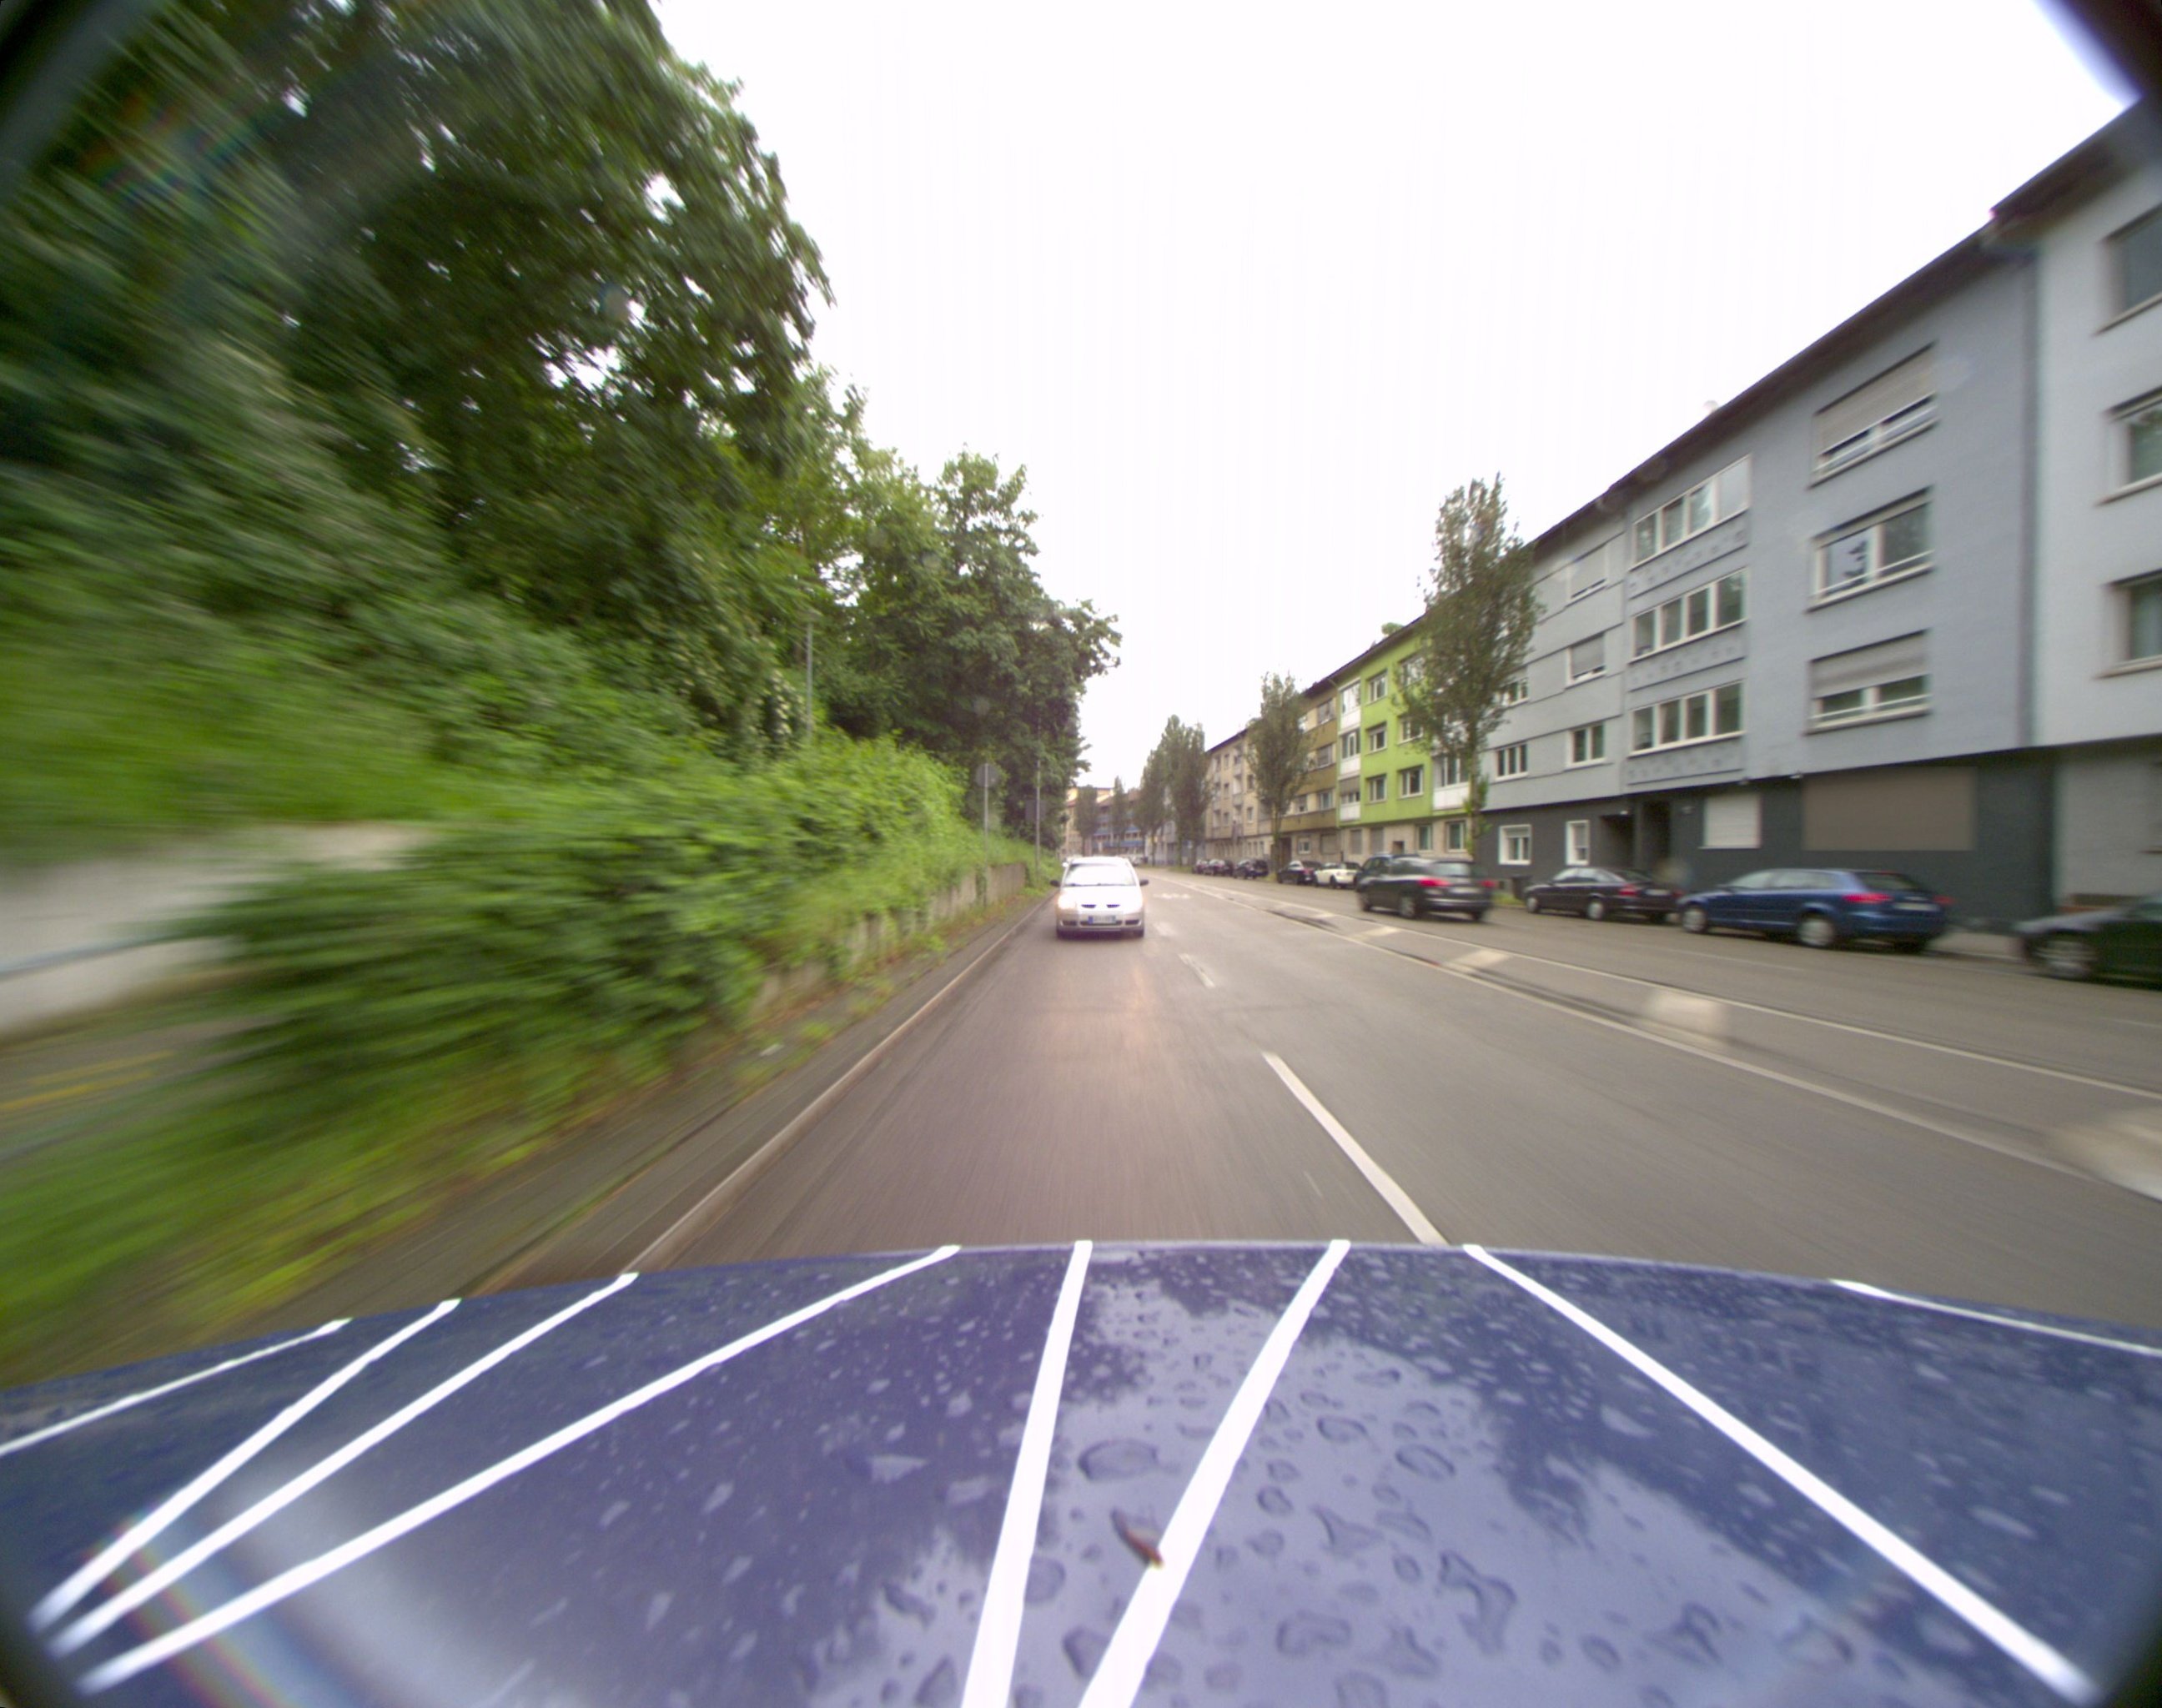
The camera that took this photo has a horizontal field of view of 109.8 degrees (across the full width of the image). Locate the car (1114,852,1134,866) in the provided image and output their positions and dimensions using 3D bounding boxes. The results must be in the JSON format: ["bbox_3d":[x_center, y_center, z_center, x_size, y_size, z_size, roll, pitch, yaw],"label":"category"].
[{"bbox_3d":[5.175,0.601,91.471,1.868,1.558,4.171,1,0,-5],"label":"car"}]

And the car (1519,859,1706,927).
[{"bbox_3d":[13.598,0.918,19.808,1.726,1.472,4.314,2,0,-1],"label":"car"}]

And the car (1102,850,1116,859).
[{"bbox_3d":[5.152,0.136,139.684,1.869,1.558,3.954,1,0,-7],"label":"car"}]

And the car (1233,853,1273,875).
[{"bbox_3d":[12.540,0.731,55.657,1.868,1.504,3.999,1,0,-2],"label":"car"}]

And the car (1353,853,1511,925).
[{"bbox_3d":[8.333,0.762,18.517,1.816,1.507,4.290,2,0,0],"label":"car"}]

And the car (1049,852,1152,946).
[{"bbox_3d":[0.511,0.794,15.628,1.754,1.586,4.170,-3,0,5],"label":"car"}]

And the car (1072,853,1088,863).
[{"bbox_3d":[-0.177,0.538,109.191,1.999,1.455,3.998,1,0,-5],"label":"car"}]

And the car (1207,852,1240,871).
[{"bbox_3d":[12.040,0.623,64.595,1.868,1.558,4.172,1,0,-2],"label":"car"}]

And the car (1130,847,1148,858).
[{"bbox_3d":[8.475,-0.236,110.904,1.869,1.558,4.170,1,0,-7],"label":"car"}]

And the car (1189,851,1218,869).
[{"bbox_3d":[11.401,0.561,70.873,1.868,1.591,4.172,1,0,-2],"label":"car"}]

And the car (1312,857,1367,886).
[{"bbox_3d":[13.180,0.858,38.857,1.547,1.369,3.447,1,0,-1],"label":"car"}]

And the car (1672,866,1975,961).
[{"bbox_3d":[13.464,0.996,14.180,1.726,1.376,3.926,2,0,-1],"label":"car"}]

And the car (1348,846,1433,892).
[{"bbox_3d":[13.437,0.603,33.248,1.905,1.859,4.314,0,1,-1],"label":"car"}]

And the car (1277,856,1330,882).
[{"bbox_3d":[12.790,0.835,43.959,1.547,1.338,4.251,2,1,-3],"label":"car"}]

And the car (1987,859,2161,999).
[{"bbox_3d":[13.537,0.903,8.460,1.851,1.536,4.247,-2,1,0],"label":"car"}]

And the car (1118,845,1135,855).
[{"bbox_3d":[7.201,-0.577,121.696,1.869,1.558,4.170,1,0,-9],"label":"car"}]
